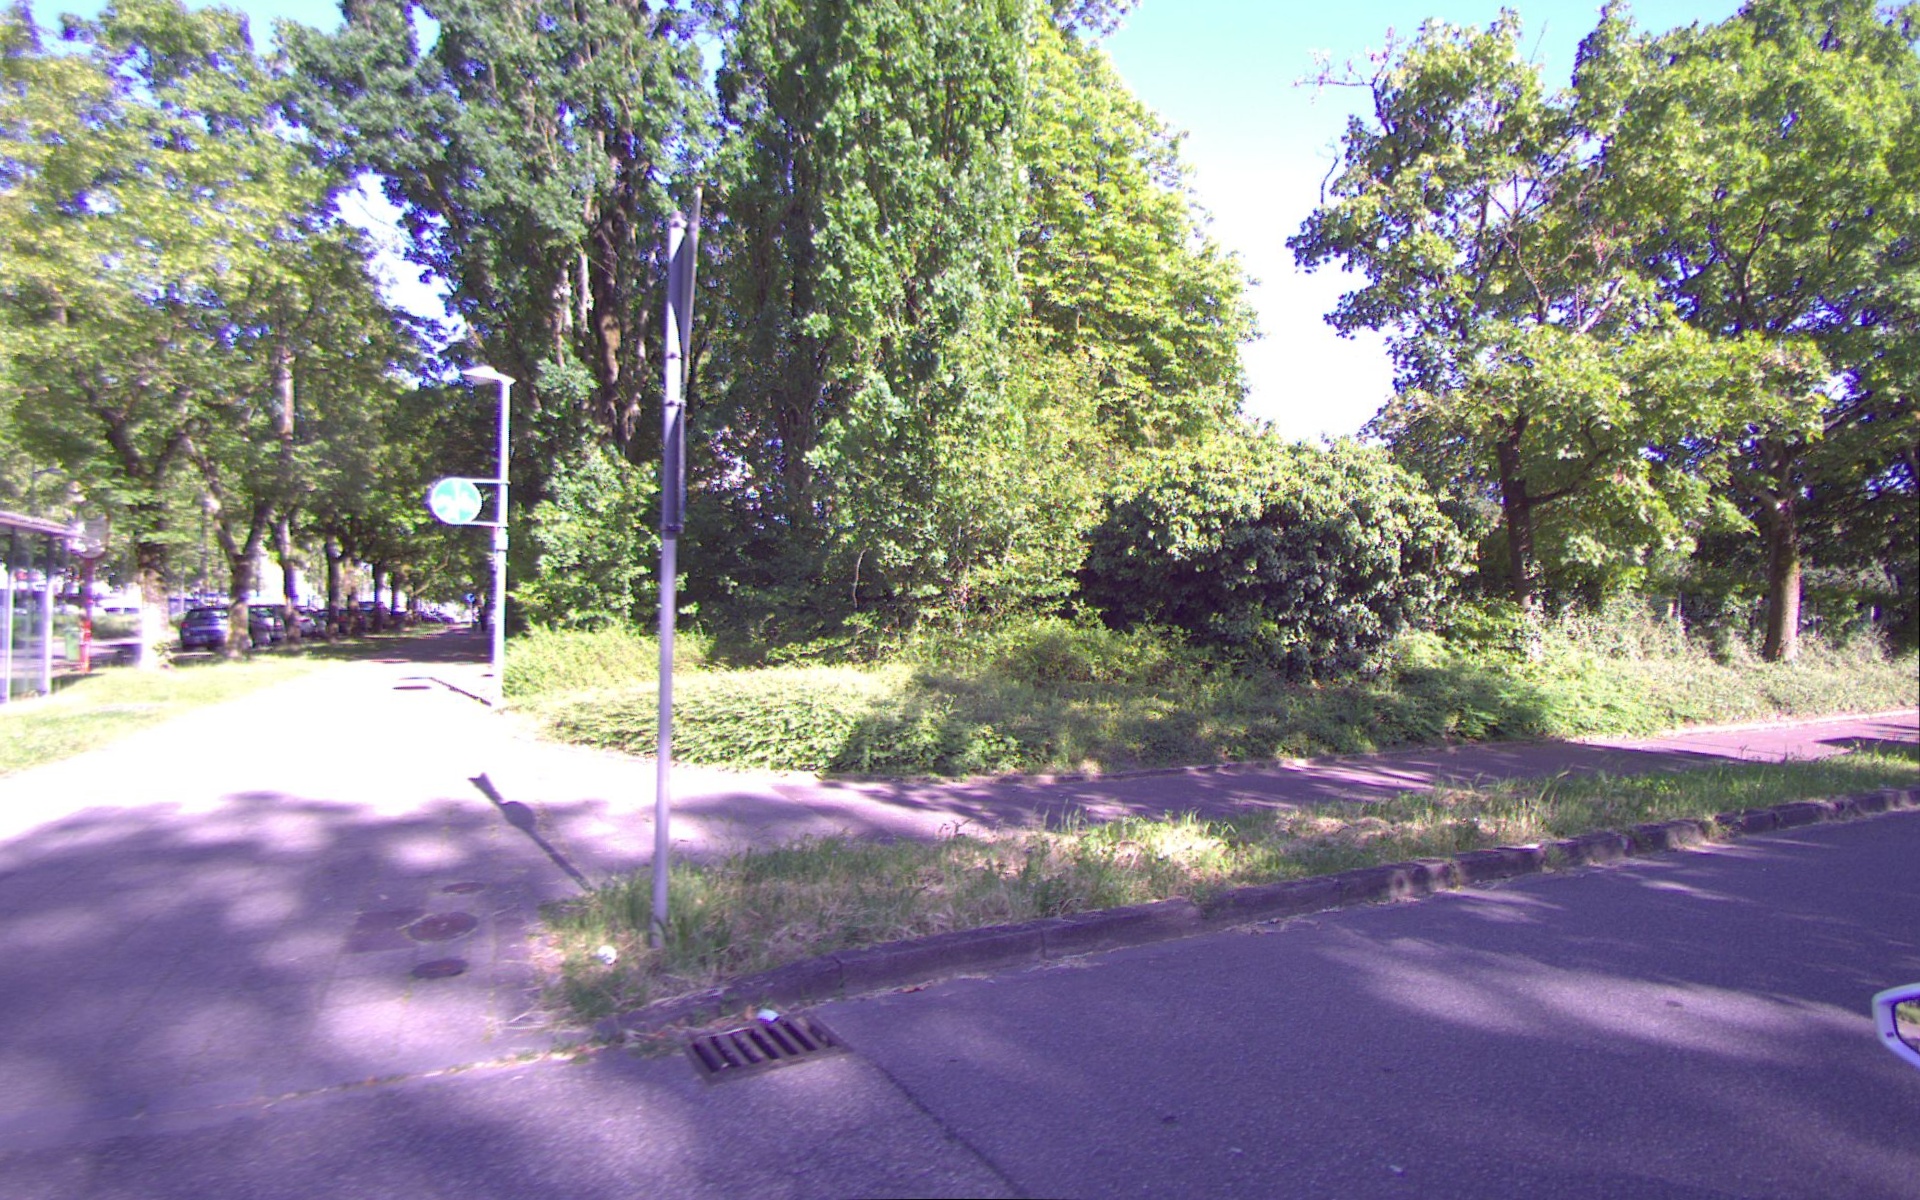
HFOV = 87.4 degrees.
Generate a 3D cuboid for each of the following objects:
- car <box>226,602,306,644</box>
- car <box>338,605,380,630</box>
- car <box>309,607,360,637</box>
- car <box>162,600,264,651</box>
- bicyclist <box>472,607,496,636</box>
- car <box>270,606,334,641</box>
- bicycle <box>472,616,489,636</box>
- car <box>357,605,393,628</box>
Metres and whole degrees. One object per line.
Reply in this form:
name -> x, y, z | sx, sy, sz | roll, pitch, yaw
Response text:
car -> -26.728, 0.894, 38.802 | 1.775, 1.530, 3.977 | 1, -1, -24
car -> -38.478, 1.100, 64.406 | 1.775, 1.530, 3.977 | 1, -1, -24
car -> -33.971, 1.186, 54.631 | 1.775, 1.530, 3.977 | 1, -1, -24
car -> -24.224, 0.823, 32.736 | 1.775, 1.530, 3.977 | 1, -1, -24
bicyclist -> -28.200, 1.254, 59.544 | 1.169, 1.683, 1.020 | 1, -1, -31
car -> -29.757, 1.050, 45.521 | 1.775, 1.530, 3.977 | 1, -1, -24
bicycle -> -28.368, 1.524, 59.424 | 0.750, 1.122, 1.785 | 1, -1, -31
car -> -43.643, 1.235, 75.003 | 1.775, 1.698, 3.977 | 1, -1, -24
